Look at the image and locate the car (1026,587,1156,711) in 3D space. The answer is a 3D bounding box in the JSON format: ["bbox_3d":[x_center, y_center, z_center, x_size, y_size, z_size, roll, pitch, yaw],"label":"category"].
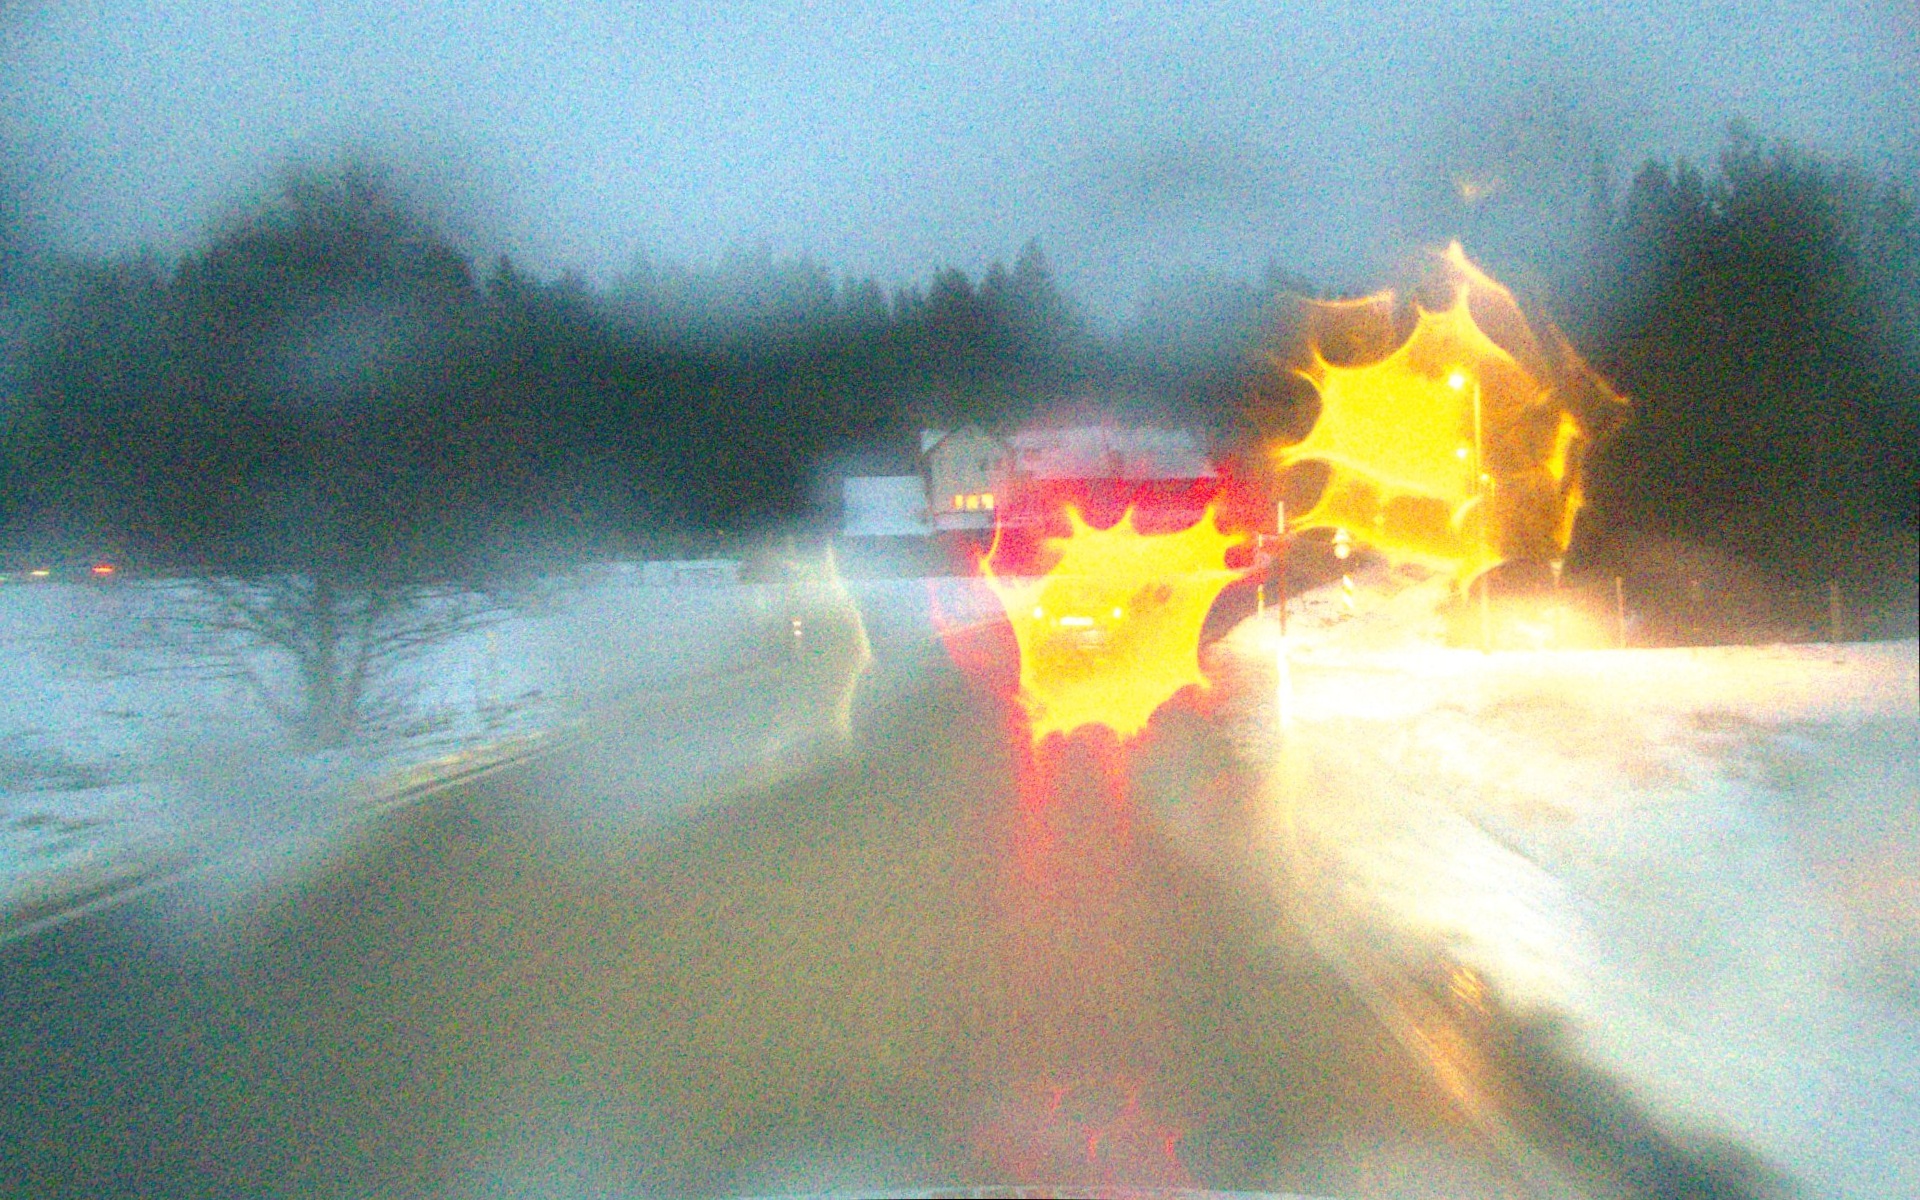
[{"bbox_3d":[2.113,0.769,27.550,1.785,1.828,3.577,-3,0,0],"label":"car"}]
